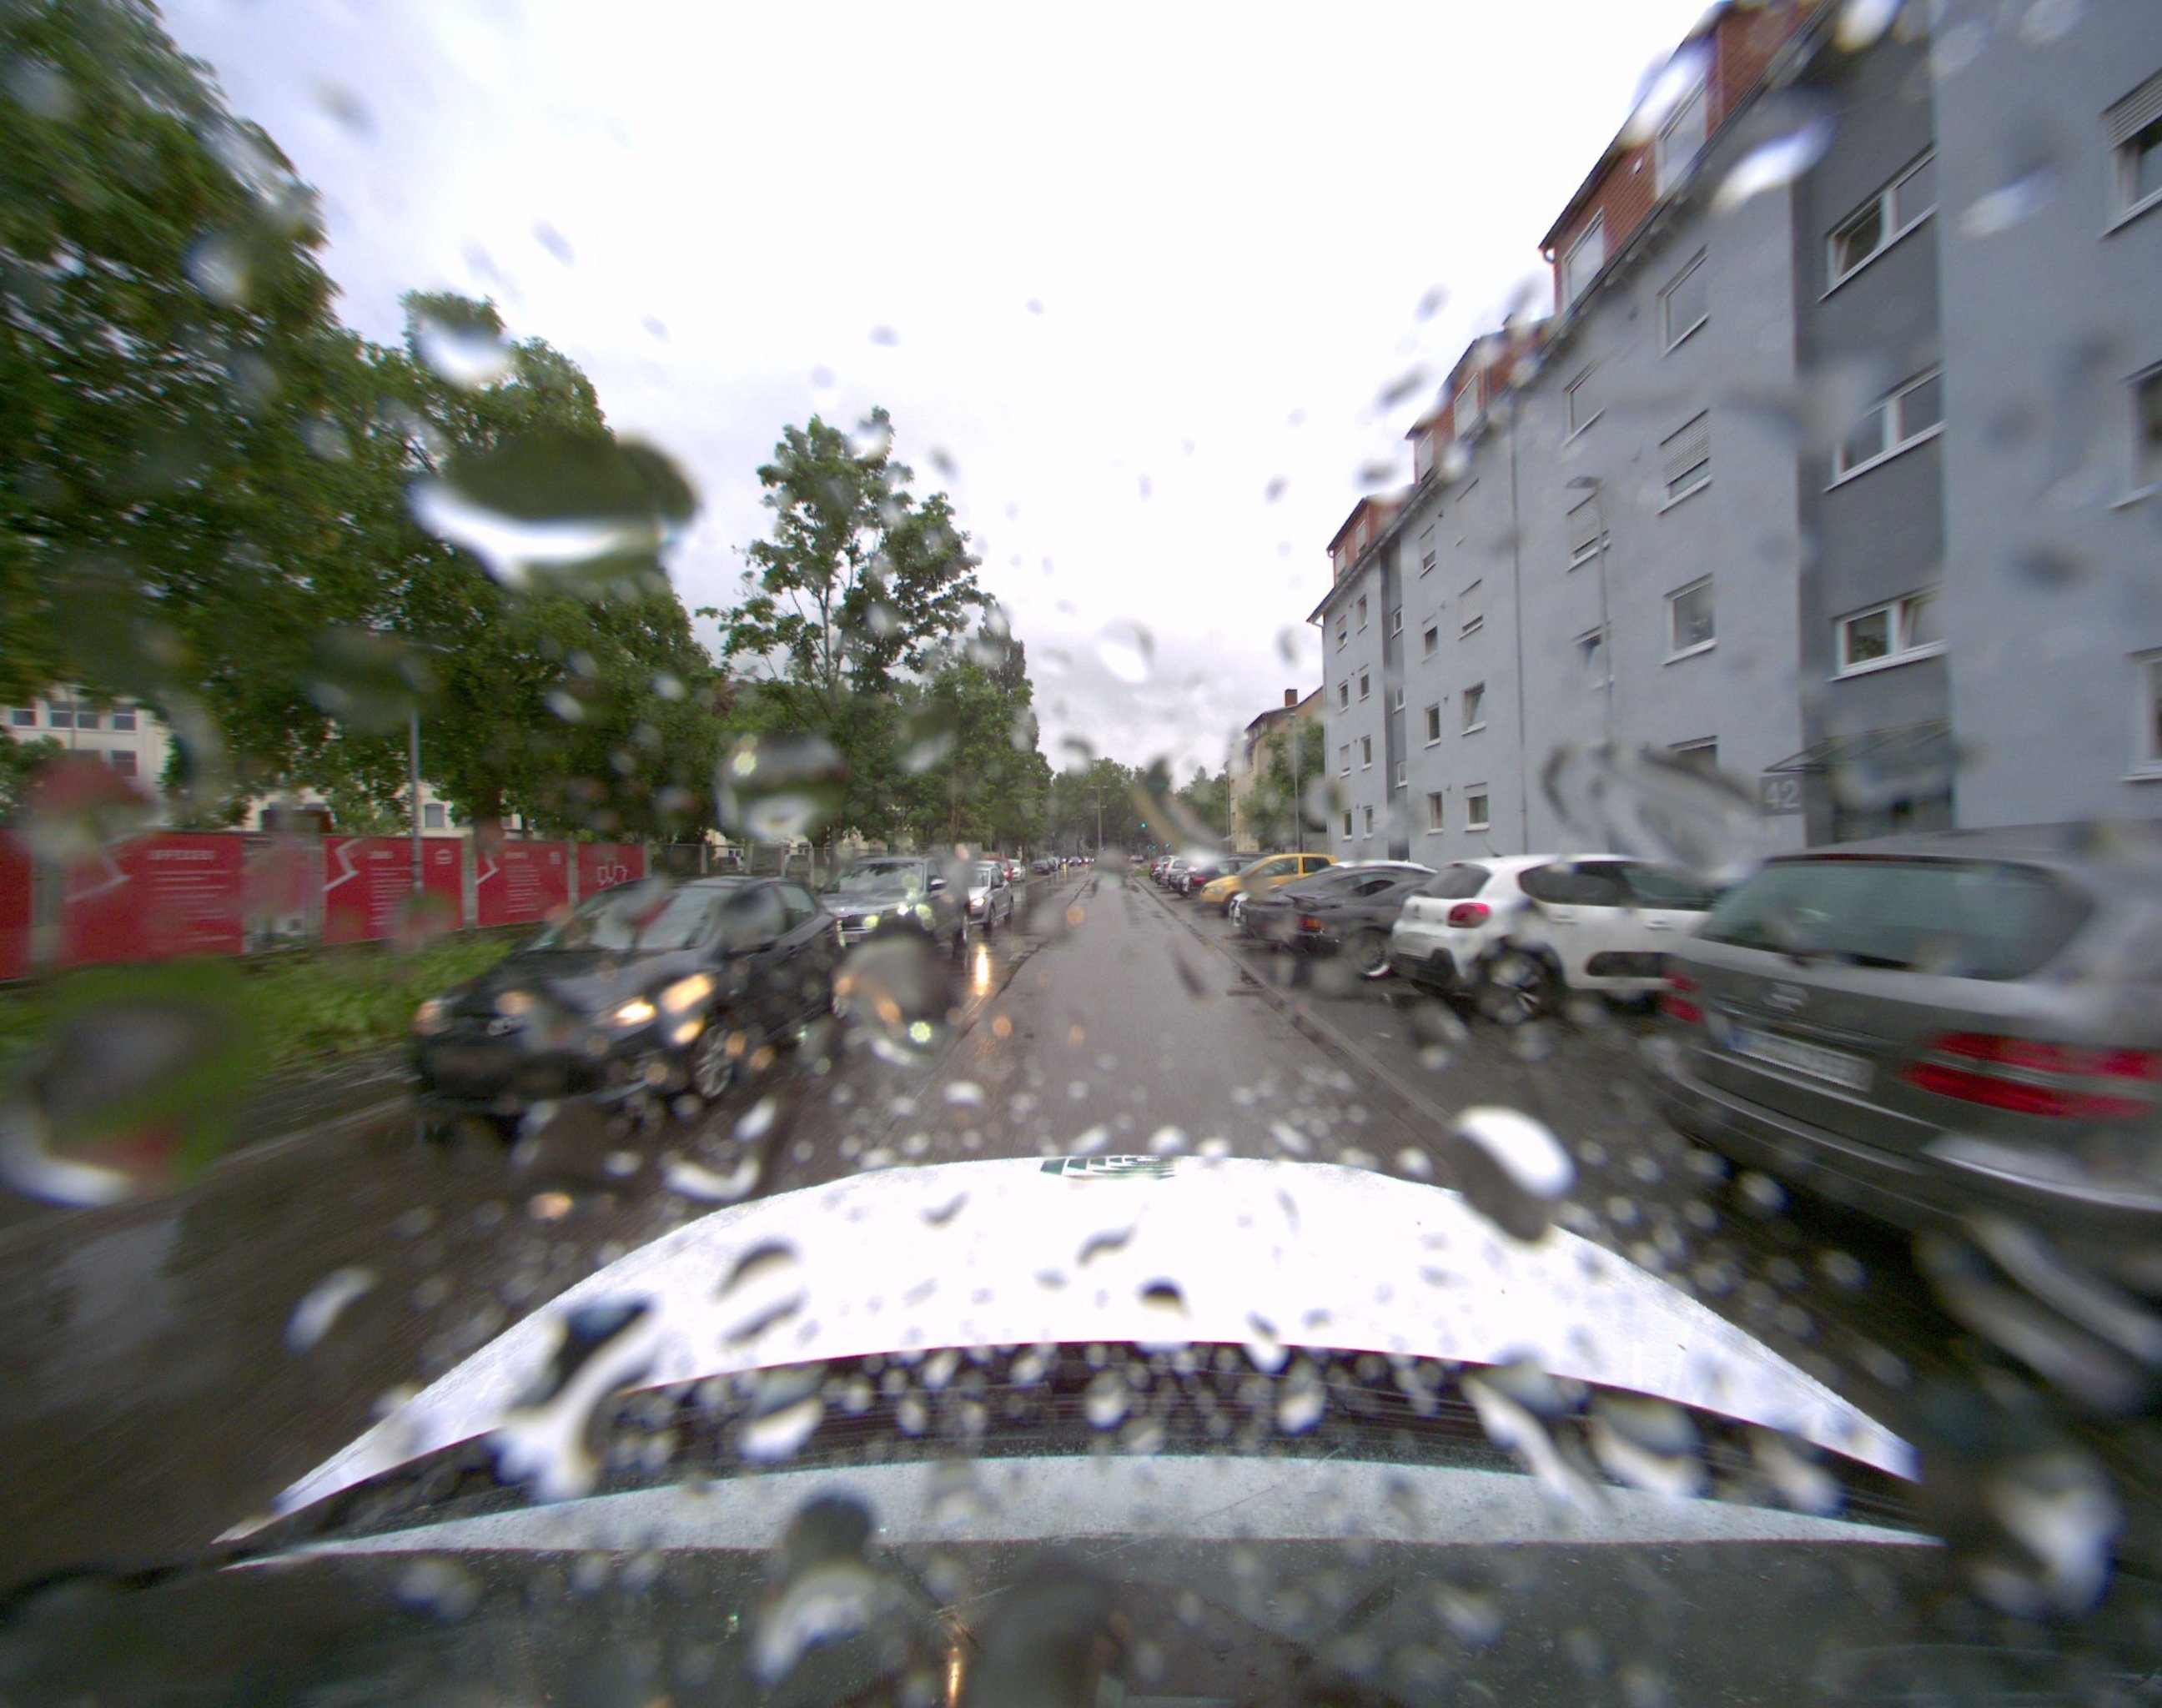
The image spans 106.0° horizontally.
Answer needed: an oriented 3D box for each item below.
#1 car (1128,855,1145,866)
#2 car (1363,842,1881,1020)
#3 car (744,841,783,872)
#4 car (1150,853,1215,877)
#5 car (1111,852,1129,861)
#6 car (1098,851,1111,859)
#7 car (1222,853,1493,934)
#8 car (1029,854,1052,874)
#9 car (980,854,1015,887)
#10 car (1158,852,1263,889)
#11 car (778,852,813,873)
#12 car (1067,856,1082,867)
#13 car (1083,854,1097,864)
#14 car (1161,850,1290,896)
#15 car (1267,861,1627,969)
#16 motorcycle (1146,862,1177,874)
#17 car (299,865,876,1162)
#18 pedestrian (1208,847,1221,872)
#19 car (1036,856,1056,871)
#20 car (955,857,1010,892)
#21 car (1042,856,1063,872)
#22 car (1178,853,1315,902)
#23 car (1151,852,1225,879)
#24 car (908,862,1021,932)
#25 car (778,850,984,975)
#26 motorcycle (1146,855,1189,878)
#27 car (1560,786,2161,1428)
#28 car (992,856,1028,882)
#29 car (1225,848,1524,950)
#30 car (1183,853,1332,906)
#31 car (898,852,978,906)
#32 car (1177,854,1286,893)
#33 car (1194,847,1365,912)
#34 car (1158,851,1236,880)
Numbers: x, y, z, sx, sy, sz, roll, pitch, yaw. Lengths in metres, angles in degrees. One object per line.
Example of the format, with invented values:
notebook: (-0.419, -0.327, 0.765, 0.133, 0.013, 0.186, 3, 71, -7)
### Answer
car: (8.488, 1.011, 125.124, 1.847, 1.524, 3.992, -1, 0, -6)
car: (4.995, 0.664, 7.943, 3.842, 1.454, 1.836, -1, 0, -1)
car: (-22.516, 0.202, 57.617, 2.006, 2.122, 3.961, 0, -1, -30)
car: (6.390, 0.671, 51.567, 3.971, 1.461, 1.935, 0, -1, 2)
car: (6.650, 0.401, 139.440, 1.853, 1.524, 4.131, -1, 0, -16)
car: (4.548, 0.218, 155.293, 1.848, 1.524, 3.990, -1, 0, -7)
car: (5.172, 0.721, 15.766, 4.608, 1.436, 2.002, -1, -1, 3)
car: (-3.548, 0.856, 70.739, 1.773, 1.530, 3.993, 0, 1, -5)
car: (-4.311, 0.837, 42.395, 1.622, 1.598, 4.195, 0, 0, -4)
car: (5.427, 0.689, 34.359, 4.246, 1.454, 1.988, -1, 1, 7)
car: (-20.590, 0.629, 58.679, 1.715, 1.434, 3.615, 0, -1, -30)
car: (-0.898, 1.050, 117.917, 1.989, 1.486, 3.995, 0, 0, -3)
car: (1.579, 0.869, 141.955, 1.740, 1.689, 3.988, 0, 0, -9)
car: (5.142, 0.665, 29.399, 4.326, 1.552, 2.040, 0, -1, 1)
car: (4.533, 0.740, 10.615, 3.837, 1.207, 1.958, -1, 0, 3)
motorcycle: (5.549, 0.994, 56.208, 2.061, 0.792, 0.712, -1, 0, 8)
car: (-3.118, 0.865, 6.388, 1.772, 1.420, 4.267, -2, 0, 2)
pedestrian: (10.950, 0.469, 66.900, 1.004, 2.014, 0.955, -1, -1, 11)
car: (-3.650, 0.999, 85.550, 1.923, 1.484, 3.998, -2, 0, -1)
car: (-4.412, 0.894, 37.025, 1.653, 1.460, 4.179, -1, 0, 5)
car: (-3.192, 1.129, 91.860, 1.918, 1.731, 4.004, -1, 0, 4)
car: (5.239, 0.717, 26.258, 4.080, 1.458, 2.002, -1, 0, 3)
car: (6.100, 0.643, 46.786, 3.976, 1.490, 1.861, 0, -1, -2)
car: (-2.617, 0.927, 19.269, 1.664, 1.383, 4.258, -1, 0, 5)
car: (-2.947, 0.794, 13.233, 1.906, 1.639, 4.825, -1, 0, 3)
motorcycle: (5.167, 0.754, 48.713, 2.393, 1.324, 0.918, 0, -1, -3)
car: (4.371, 0.611, 2.956, 4.167, 1.572, 1.890, 0, -1, 0)
car: (-4.358, 0.880, 50.718, 1.762, 1.528, 4.599, 0, 0, 1)
car: (4.557, 0.680, 13.157, 4.128, 1.486, 2.013, 0, -1, 1)
car: (5.032, 0.719, 23.654, 3.973, 1.442, 1.782, 0, -1, 1)
car: (-4.823, 0.789, 28.116, 1.769, 1.680, 4.603, 1, 0, 2)
car: (5.852, 0.744, 31.931, 3.972, 1.412, 1.846, 0, 0, 1)
car: (5.038, 0.636, 21.043, 3.974, 1.552, 1.852, 0, -1, 0)
car: (6.251, 0.620, 44.230, 3.974, 1.552, 1.905, 0, -1, 0)
